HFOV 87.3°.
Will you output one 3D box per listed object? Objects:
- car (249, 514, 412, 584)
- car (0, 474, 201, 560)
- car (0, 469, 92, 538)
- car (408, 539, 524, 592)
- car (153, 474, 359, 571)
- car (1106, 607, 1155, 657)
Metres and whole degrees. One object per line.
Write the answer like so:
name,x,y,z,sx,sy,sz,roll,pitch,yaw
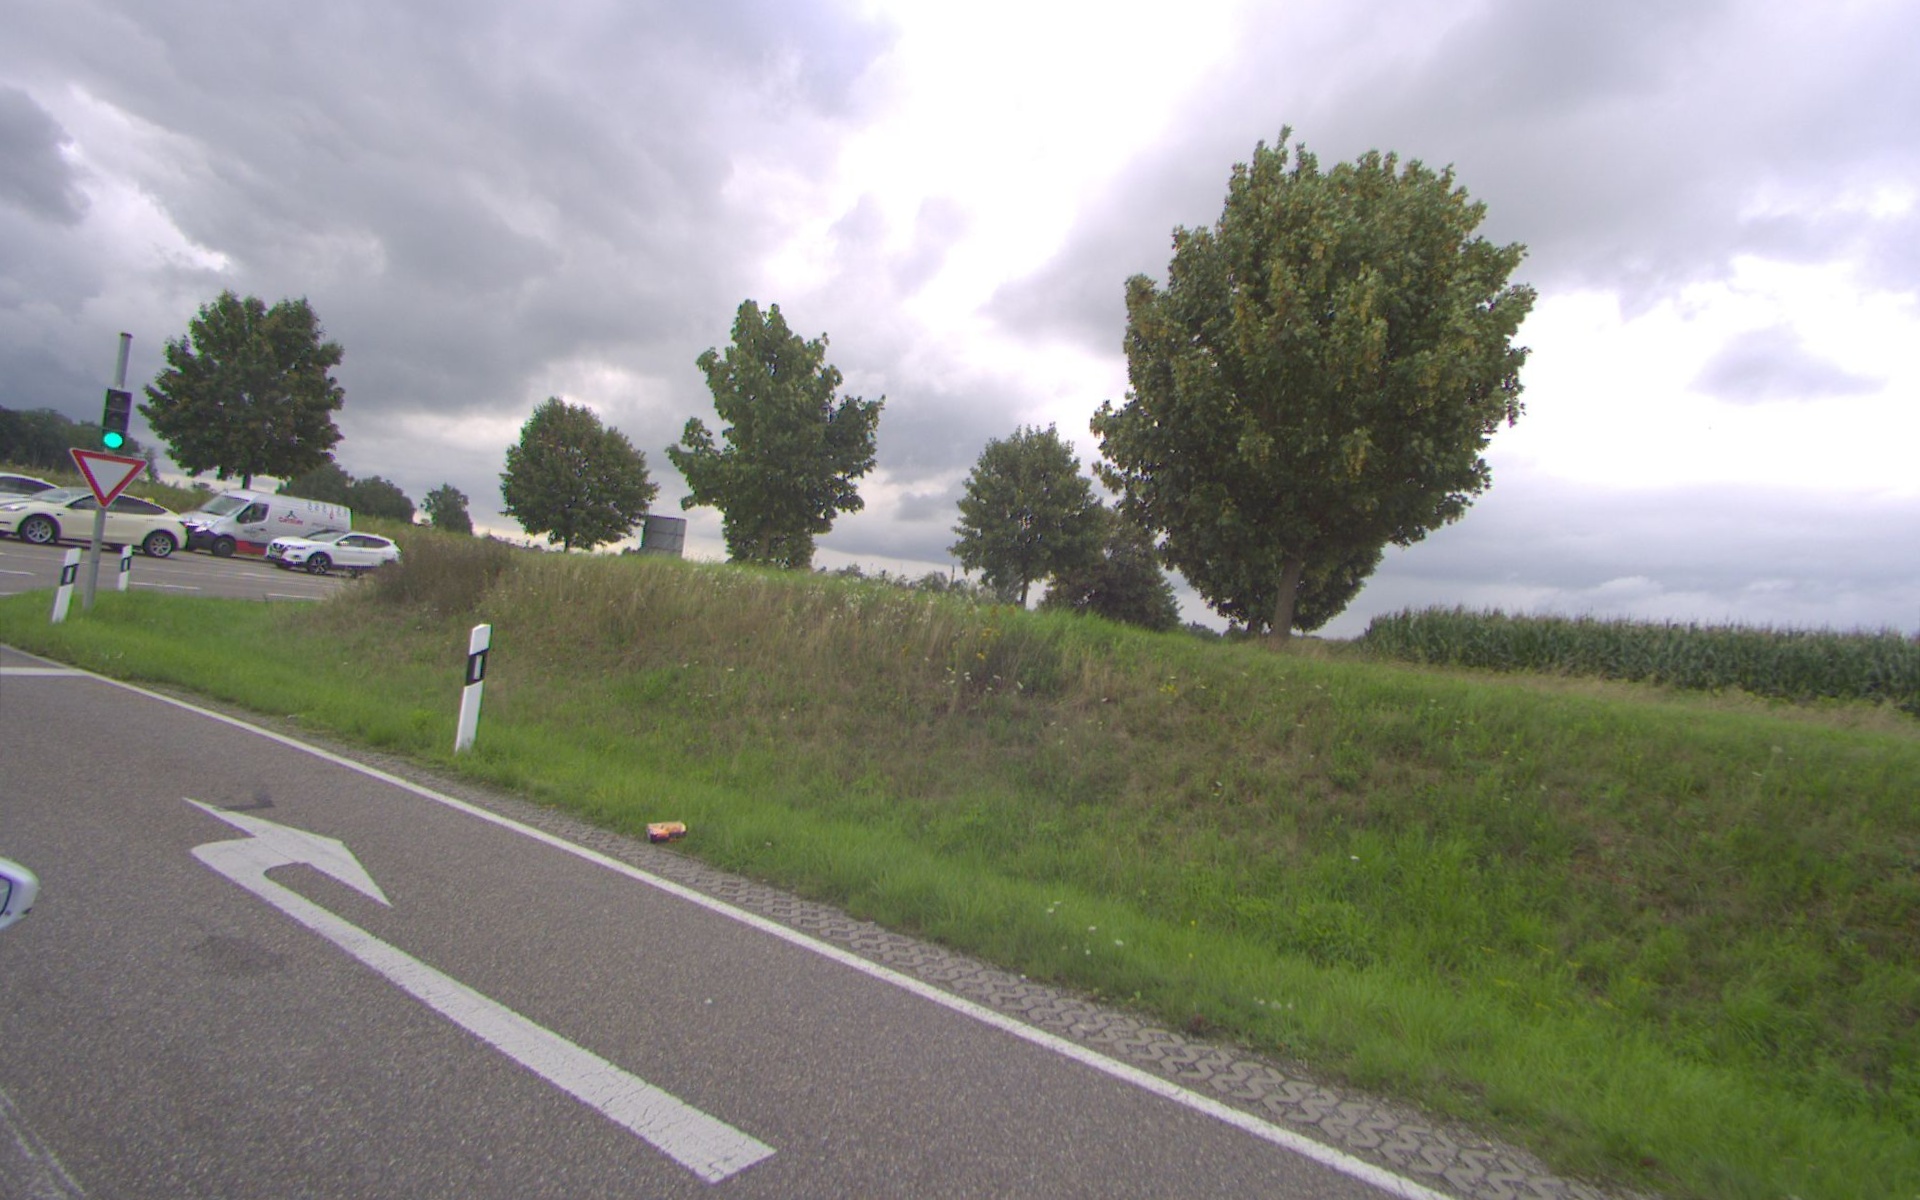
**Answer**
car,-21.508,-1.696,34.607,1.963,1.648,4.326,7,-2,20
car,-23.841,-2.238,27.304,1.963,1.582,4.752,7,-2,19
car,-27.536,-2.928,28.231,1.963,1.647,4.278,7,-2,19
car,-21.573,-1.485,44.131,1.963,1.647,4.278,7,-2,19
car,-25.096,-2.689,36.195,2.354,2.470,5.517,7,-2,20
car,8.205,1.569,48.227,1.962,2.037,4.005,7,-2,12
